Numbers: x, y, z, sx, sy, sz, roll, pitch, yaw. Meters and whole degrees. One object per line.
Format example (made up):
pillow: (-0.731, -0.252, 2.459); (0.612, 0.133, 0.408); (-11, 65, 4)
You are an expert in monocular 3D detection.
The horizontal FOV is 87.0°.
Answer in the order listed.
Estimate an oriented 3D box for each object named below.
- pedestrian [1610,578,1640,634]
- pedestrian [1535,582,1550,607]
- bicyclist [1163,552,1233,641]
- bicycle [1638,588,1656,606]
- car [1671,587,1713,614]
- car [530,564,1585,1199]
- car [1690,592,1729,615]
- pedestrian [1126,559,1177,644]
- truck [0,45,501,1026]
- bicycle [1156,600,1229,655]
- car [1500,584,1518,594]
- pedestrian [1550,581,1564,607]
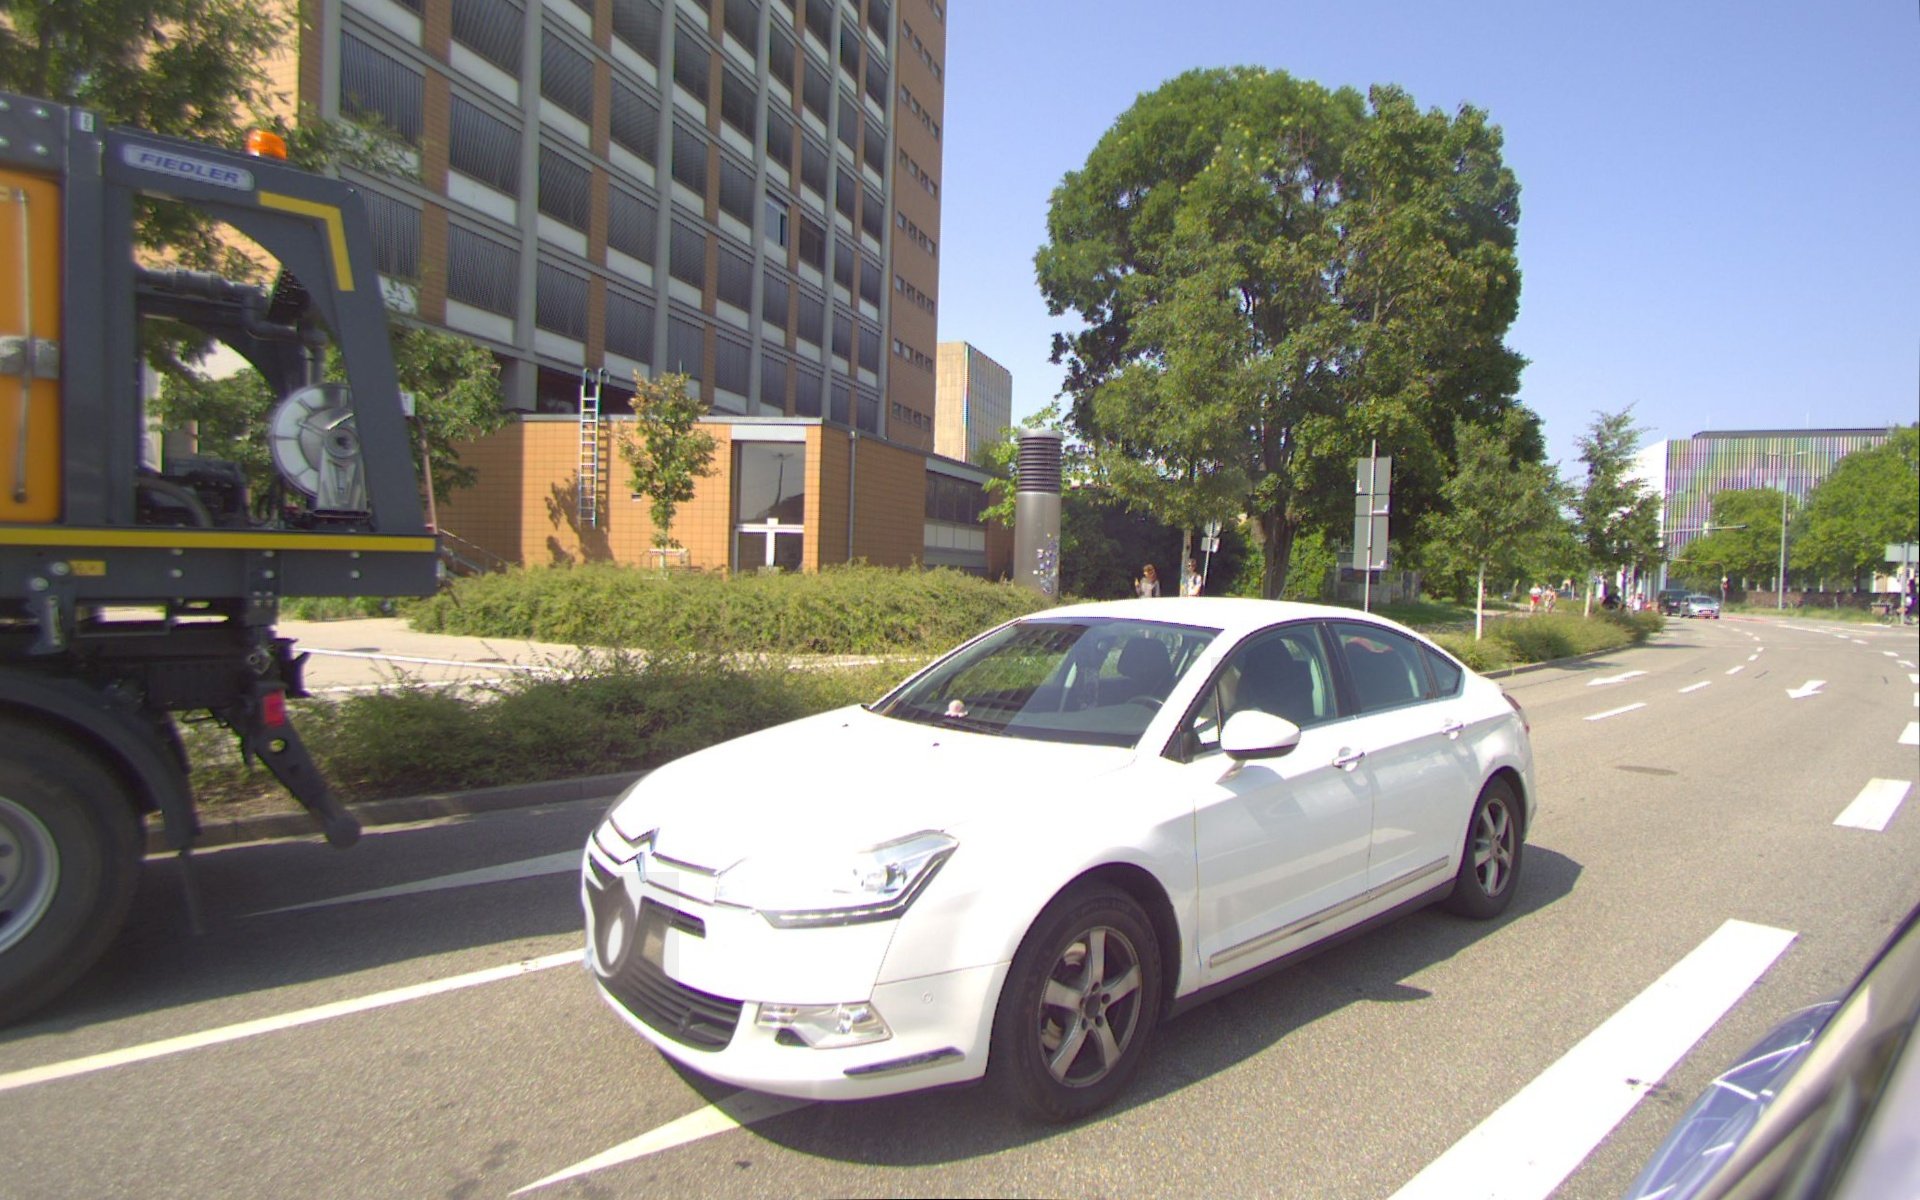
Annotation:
pedestrian: (23.740, 0.201, 36.119); (0.818, 1.926, 0.622); (2, 1, 37)
pedestrian: (29.932, -0.287, 51.990); (0.629, 1.315, 0.482); (0, 0, 28)
bicyclist: (4.518, -0.078, 19.191); (0.909, 1.625, 0.903); (0, 2, -43)
bicycle: (47.171, -0.229, 69.494); (2.199, 1.183, 0.593); (0, 2, -45)
car: (54.324, -0.007, 75.205); (1.874, 1.943, 4.489); (1, 1, 28)
car: (0.802, 0.630, 4.298); (4.527, 1.446, 1.773); (0, 2, -40)
car: (51.001, 0.227, 68.934); (1.646, 1.550, 4.485); (0, 0, 30)
pedestrian: (3.983, 0.019, 21.056); (0.670, 1.720, 0.793); (2, 1, 44)
truck: (-5.315, -0.211, 3.101); (6.736, 3.174, 2.498); (0, 0, -39)
bicycle: (4.419, 0.502, 19.138); (1.751, 0.992, 0.357); (0, 1, -41)
car: (96.906, -1.977, 178.752); (1.849, 1.549, 4.509); (2, 2, 17)
pedestrian: (30.554, -0.296, 51.812); (0.571, 1.315, 0.433); (0, 0, 27)
